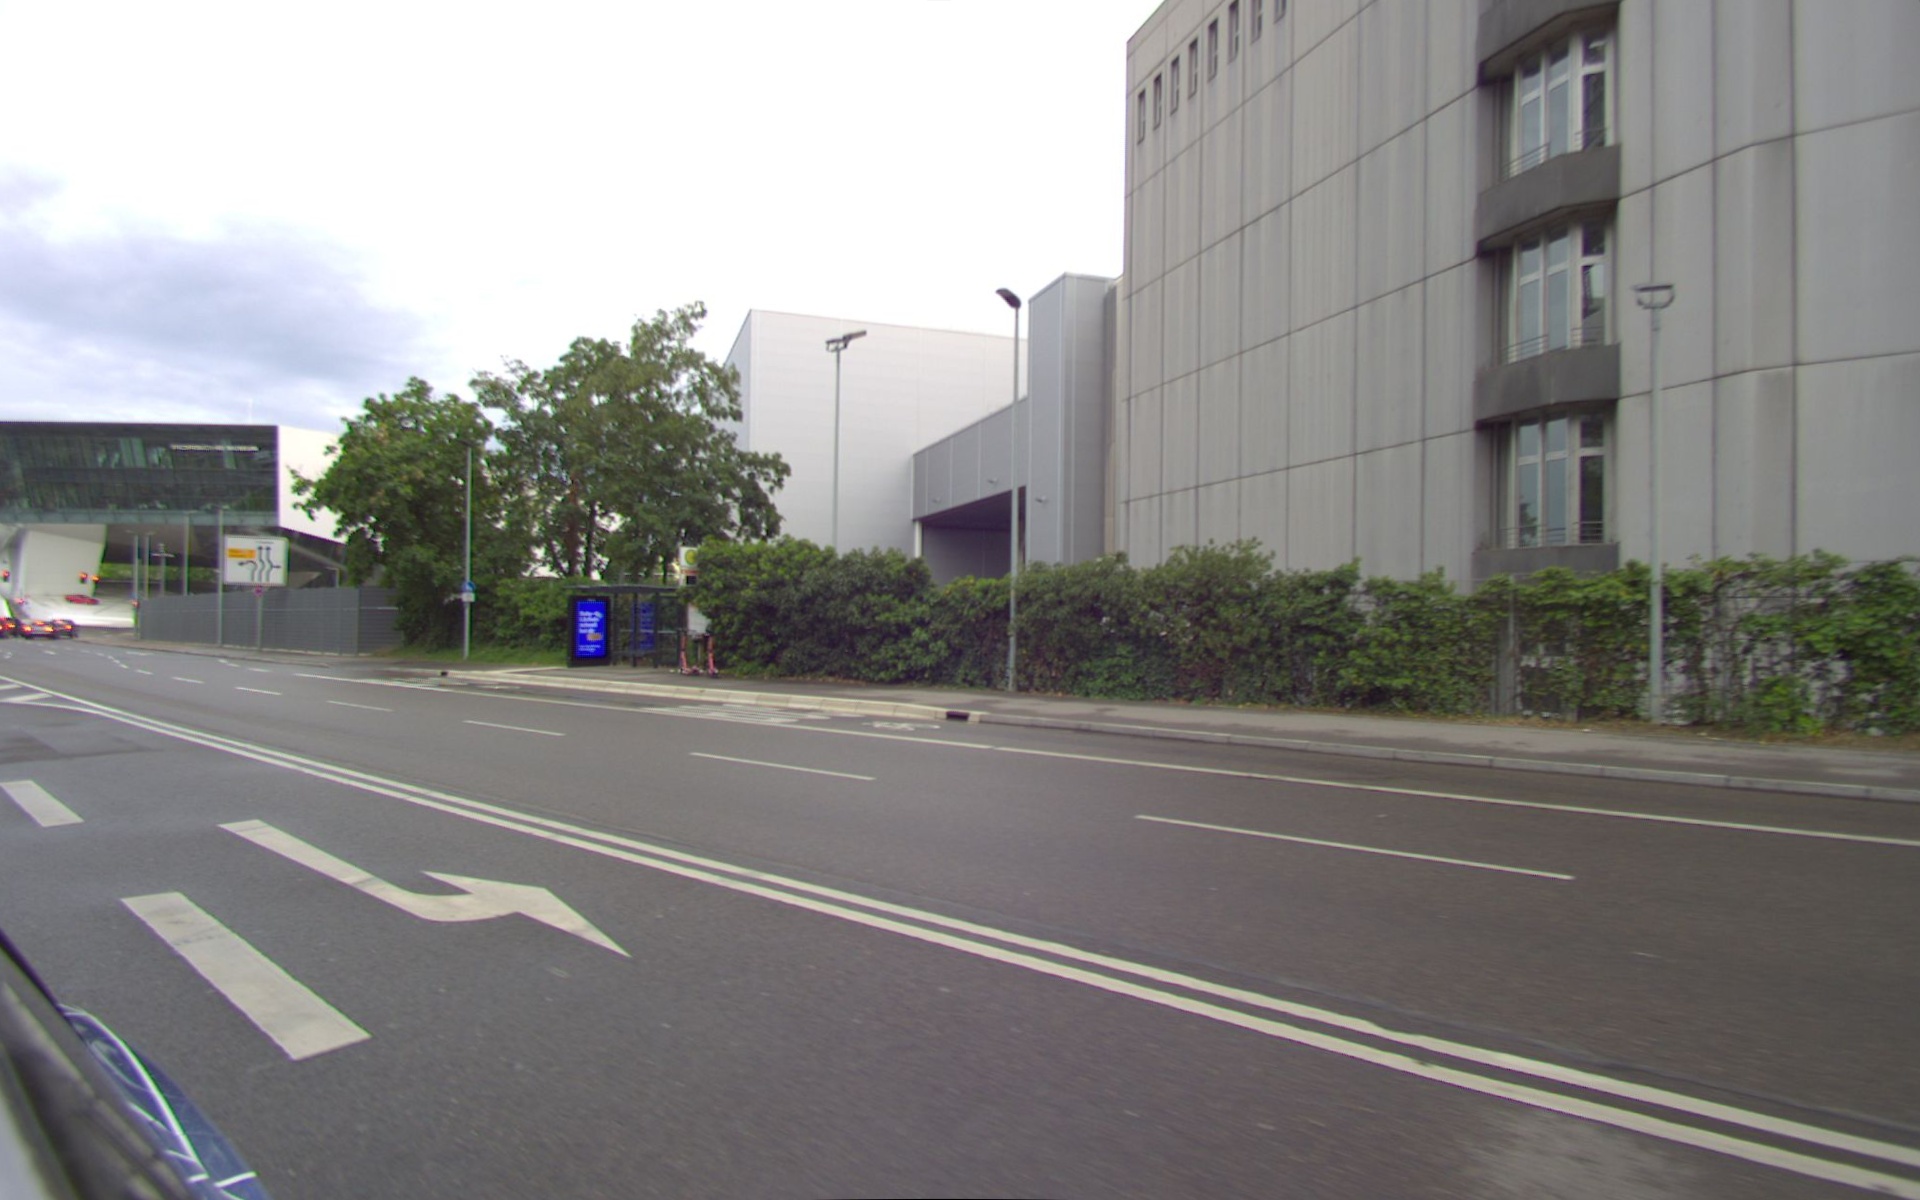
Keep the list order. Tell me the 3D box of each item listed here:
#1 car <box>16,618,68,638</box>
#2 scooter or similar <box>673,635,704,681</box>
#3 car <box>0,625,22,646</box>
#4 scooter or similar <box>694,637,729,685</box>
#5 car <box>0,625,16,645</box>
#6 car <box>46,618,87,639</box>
[{"bbox_3d":[-71.180,2.155,78.504,2.233,1.488,4.059,1,-2,-32],"label":"car"},{"bbox_3d":[-7.242,1.539,26.980,0.383,1.189,1.253,1,-2,-36],"label":"scooter or similar"},{"bbox_3d":[-77.650,2.841,81.950,1.850,1.663,3.863,1,-2,-33],"label":"car"},{"bbox_3d":[-6.342,1.536,25.794,0.373,1.190,1.381,1,-2,-36],"label":"scooter or similar"},{"bbox_3d":[-74.514,2.689,77.718,2.221,1.488,3.890,1,-2,-32],"label":"car"},{"bbox_3d":[-75.032,2.406,85.005,1.834,1.663,3.799,1,-2,-30],"label":"car"}]
